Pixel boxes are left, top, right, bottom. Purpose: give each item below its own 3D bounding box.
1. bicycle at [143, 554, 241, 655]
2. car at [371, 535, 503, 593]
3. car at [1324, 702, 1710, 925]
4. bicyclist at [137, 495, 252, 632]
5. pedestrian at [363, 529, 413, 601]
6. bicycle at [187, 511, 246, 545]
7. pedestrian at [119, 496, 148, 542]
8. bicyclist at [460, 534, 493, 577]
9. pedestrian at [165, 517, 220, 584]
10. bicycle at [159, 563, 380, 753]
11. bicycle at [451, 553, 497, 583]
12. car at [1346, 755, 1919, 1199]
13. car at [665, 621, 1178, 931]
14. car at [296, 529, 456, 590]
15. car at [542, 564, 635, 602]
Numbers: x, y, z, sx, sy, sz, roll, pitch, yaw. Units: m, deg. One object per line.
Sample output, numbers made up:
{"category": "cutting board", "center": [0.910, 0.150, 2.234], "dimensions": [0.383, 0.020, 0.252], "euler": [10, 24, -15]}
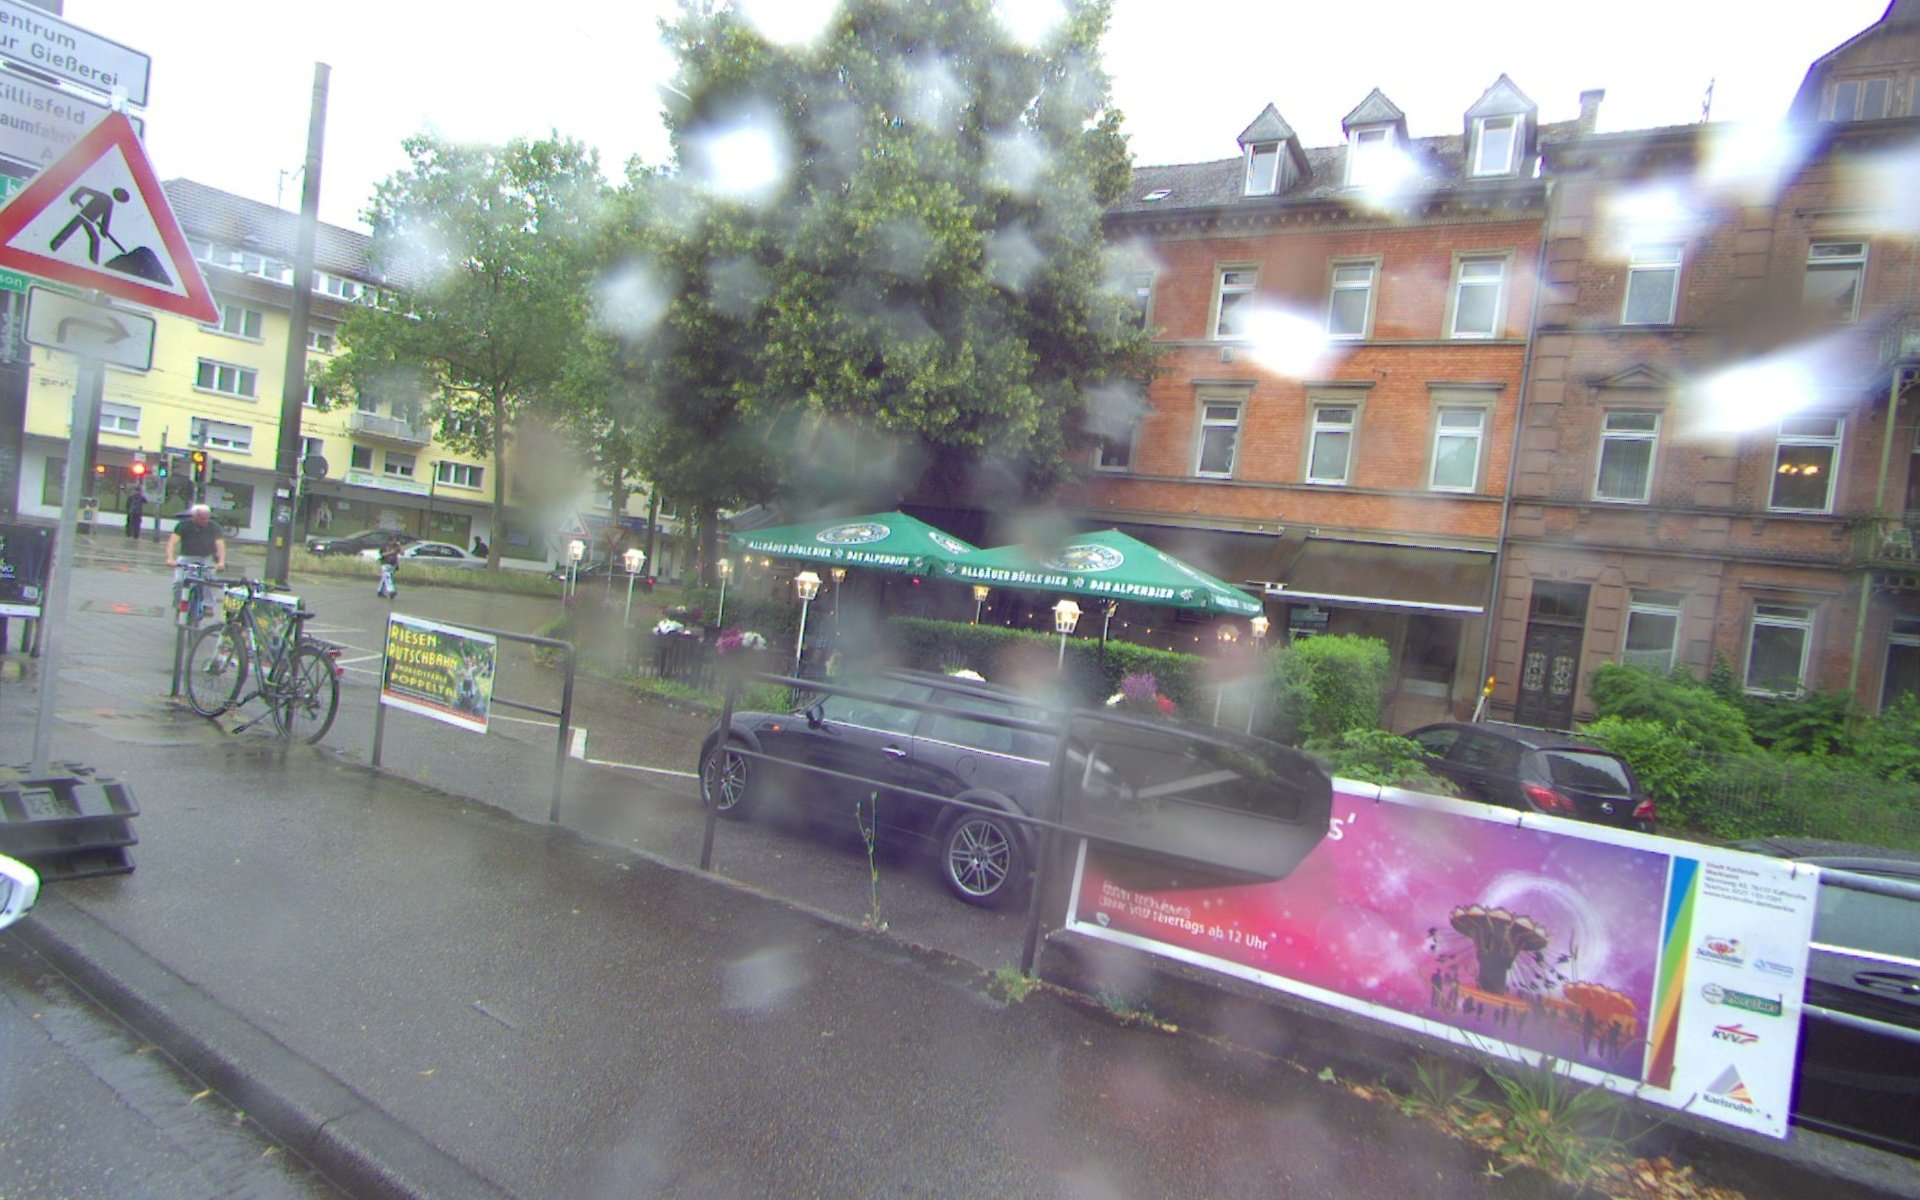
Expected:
{"category": "bicycle", "center": [-9.772, 0.035, 12.778], "dimensions": [1.873, 1.040, 0.458], "euler": [8, 1, 38]}
{"category": "car", "center": [-19.382, -1.319, 37.342], "dimensions": [3.926, 1.508, 1.784], "euler": [8, 0, -43]}
{"category": "car", "center": [6.430, 2.394, 12.253], "dimensions": [1.966, 1.733, 3.996], "euler": [7, -1, -7]}
{"category": "bicyclist", "center": [-9.746, -0.463, 12.808], "dimensions": [0.848, 1.602, 0.877], "euler": [7, -1, 42]}
{"category": "pedestrian", "center": [-14.452, -0.886, 25.412], "dimensions": [0.898, 1.689, 1.011], "euler": [7, -1, -32]}
{"category": "bicycle", "center": [-35.605, -3.445, 48.198], "dimensions": [2.096, 1.277, 0.525], "euler": [8, 0, -44]}
{"category": "pedestrian", "center": [-29.508, -2.882, 35.933], "dimensions": [0.617, 1.518, 0.547], "euler": [7, 0, -36]}
{"category": "bicyclist", "center": [-20.020, -1.841, 41.682], "dimensions": [0.699, 1.634, 0.815], "euler": [7, 0, 32]}
{"category": "pedestrian", "center": [-19.168, -1.223, 25.148], "dimensions": [0.612, 1.552, 0.816], "euler": [7, 0, -6]}
{"category": "bicycle", "center": [-5.181, 0.399, 7.500], "dimensions": [1.984, 1.119, 0.515], "euler": [7, -3, 33]}
{"category": "bicycle", "center": [-20.105, -1.317, 41.650], "dimensions": [0.415, 1.013, 1.640], "euler": [7, -1, 32]}
{"category": "car", "center": [4.189, 1.851, 4.962], "dimensions": [3.907, 1.416, 1.706], "euler": [7, -1, 32]}
{"category": "car", "center": [-0.355, 1.210, 7.803], "dimensions": [3.468, 1.457, 1.710], "euler": [8, -3, 34]}
{"category": "car", "center": [-22.448, -1.530, 38.825], "dimensions": [1.975, 1.661, 4.928], "euler": [3, -4, 43]}
{"category": "car", "center": [-15.542, -0.690, 42.276], "dimensions": [1.227, 1.095, 3.531], "euler": [7, -2, 34]}
